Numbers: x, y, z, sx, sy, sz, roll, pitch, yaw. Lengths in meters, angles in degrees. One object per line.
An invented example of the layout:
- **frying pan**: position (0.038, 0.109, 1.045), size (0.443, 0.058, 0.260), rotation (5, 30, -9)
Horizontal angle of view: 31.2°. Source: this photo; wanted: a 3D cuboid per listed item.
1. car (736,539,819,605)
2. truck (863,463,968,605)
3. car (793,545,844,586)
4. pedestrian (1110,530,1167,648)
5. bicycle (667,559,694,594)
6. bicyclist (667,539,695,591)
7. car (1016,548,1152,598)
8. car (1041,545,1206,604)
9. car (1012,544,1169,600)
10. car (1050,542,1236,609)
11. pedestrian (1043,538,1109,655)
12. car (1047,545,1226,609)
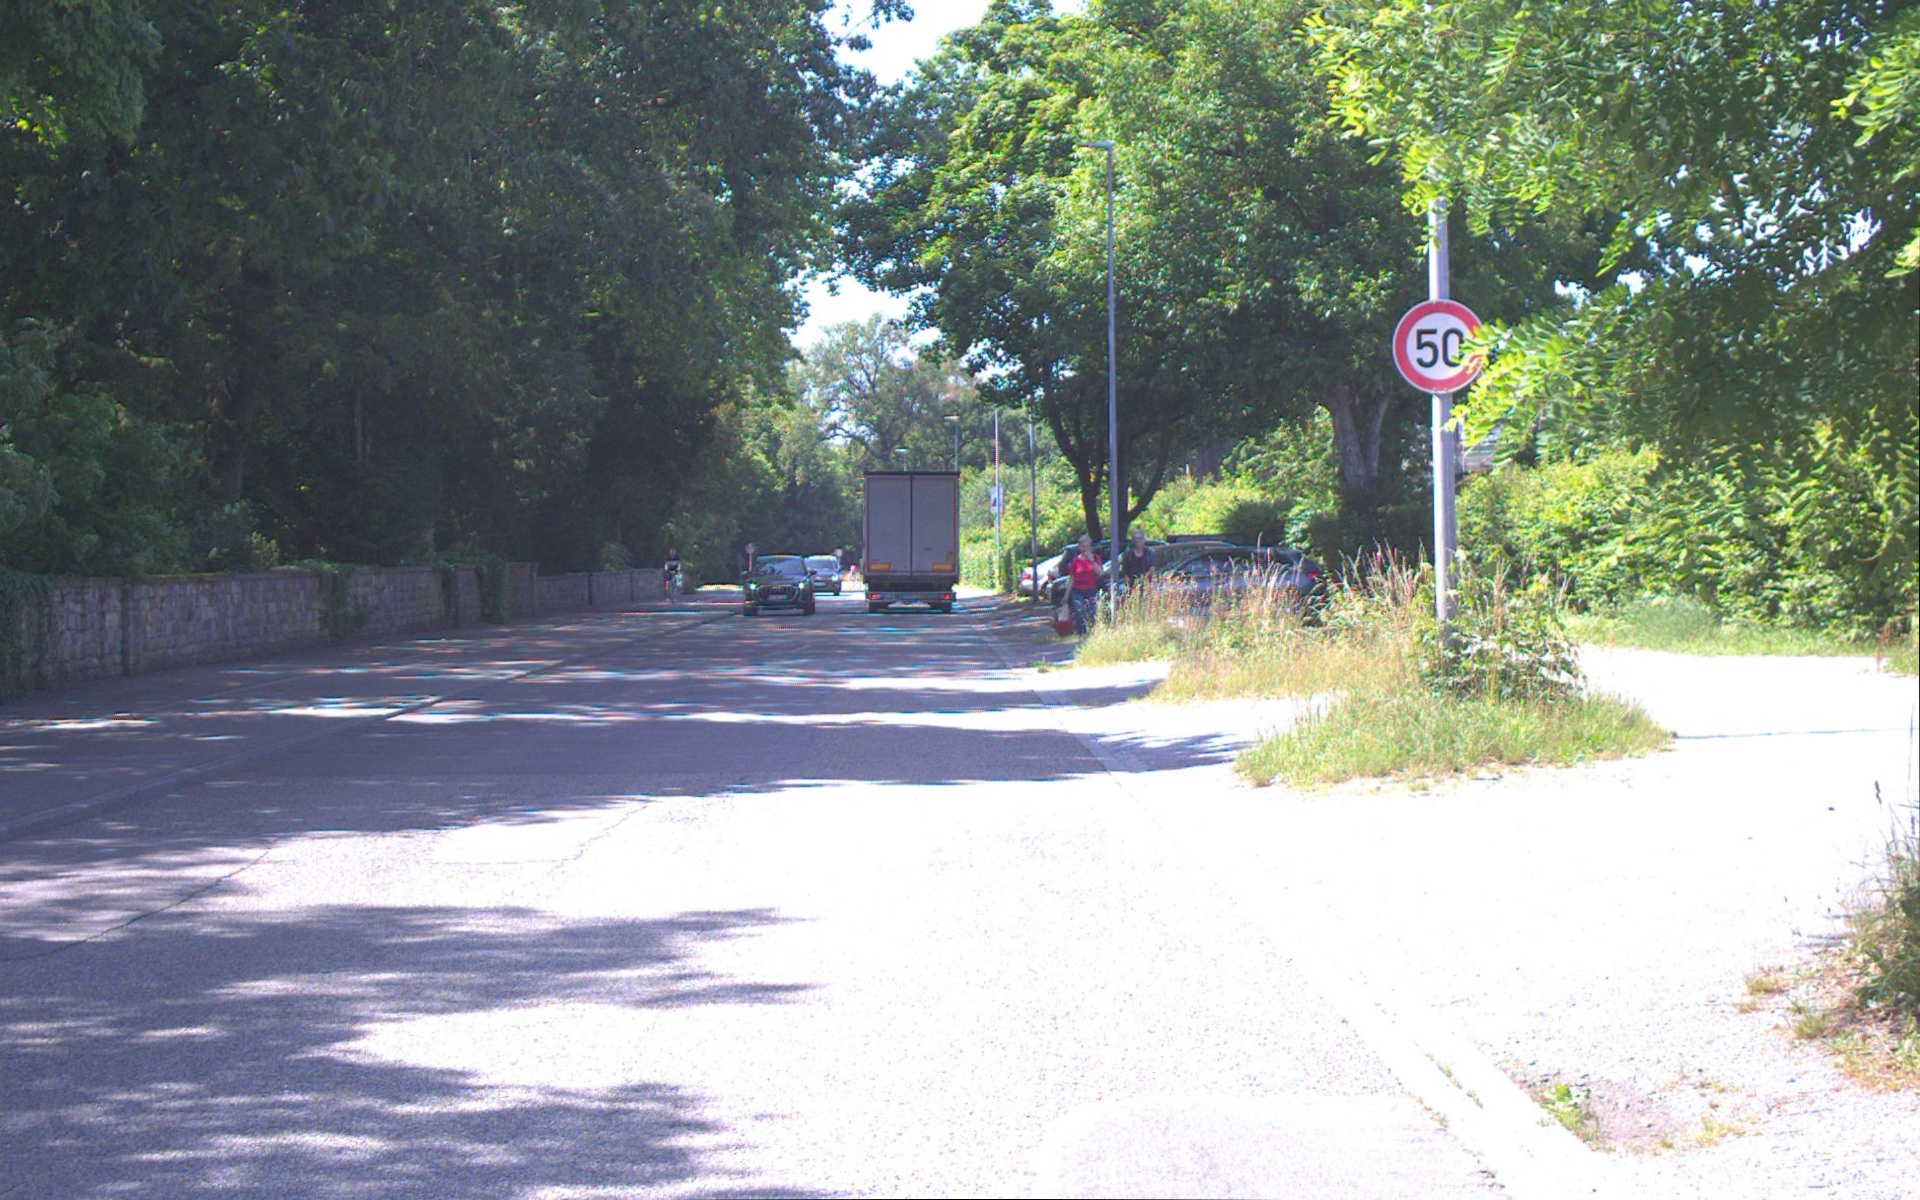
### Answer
- **car**: position (-4.836, -0.754, 91.783), size (1.993, 1.678, 4.262), rotation (-1, 1, 0)
- **truck**: position (-1.240, -1.834, 97.025), size (2.733, 3.733, 13.246), rotation (0, 1, -1)
- **car**: position (-6.046, -1.500, 147.053), size (1.993, 1.678, 4.262), rotation (-1, 1, 0)
- **pedestrian**: position (2.663, -0.173, 51.467), size (0.739, 1.732, 0.886), rotation (-1, 1, -2)
- **bicycle**: position (-9.377, -0.790, 115.511), size (0.718, 1.155, 2.230), rotation (-1, 1, 0)
- **bicyclist**: position (-9.385, -1.177, 115.514), size (0.832, 1.710, 0.957), rotation (-1, 1, 0)
- **car**: position (3.868, -0.856, 107.697), size (4.196, 1.440, 1.739), rotation (-1, 1, 0)
- **car**: position (4.235, -0.672, 89.517), size (4.196, 1.440, 1.739), rotation (-1, 1, 0)
- **car**: position (3.550, -0.773, 93.865), size (4.196, 1.440, 1.739), rotation (-1, 1, 0)
- **car**: position (4.210, -0.570, 79.575), size (4.196, 1.440, 1.739), rotation (-1, 1, 0)
- **pedestrian**: position (1.685, -0.058, 50.040), size (0.863, 1.671, 0.886), rotation (-1, 1, -2)
- **car**: position (4.243, -0.573, 83.117), size (4.196, 1.440, 1.739), rotation (-1, 1, 0)
